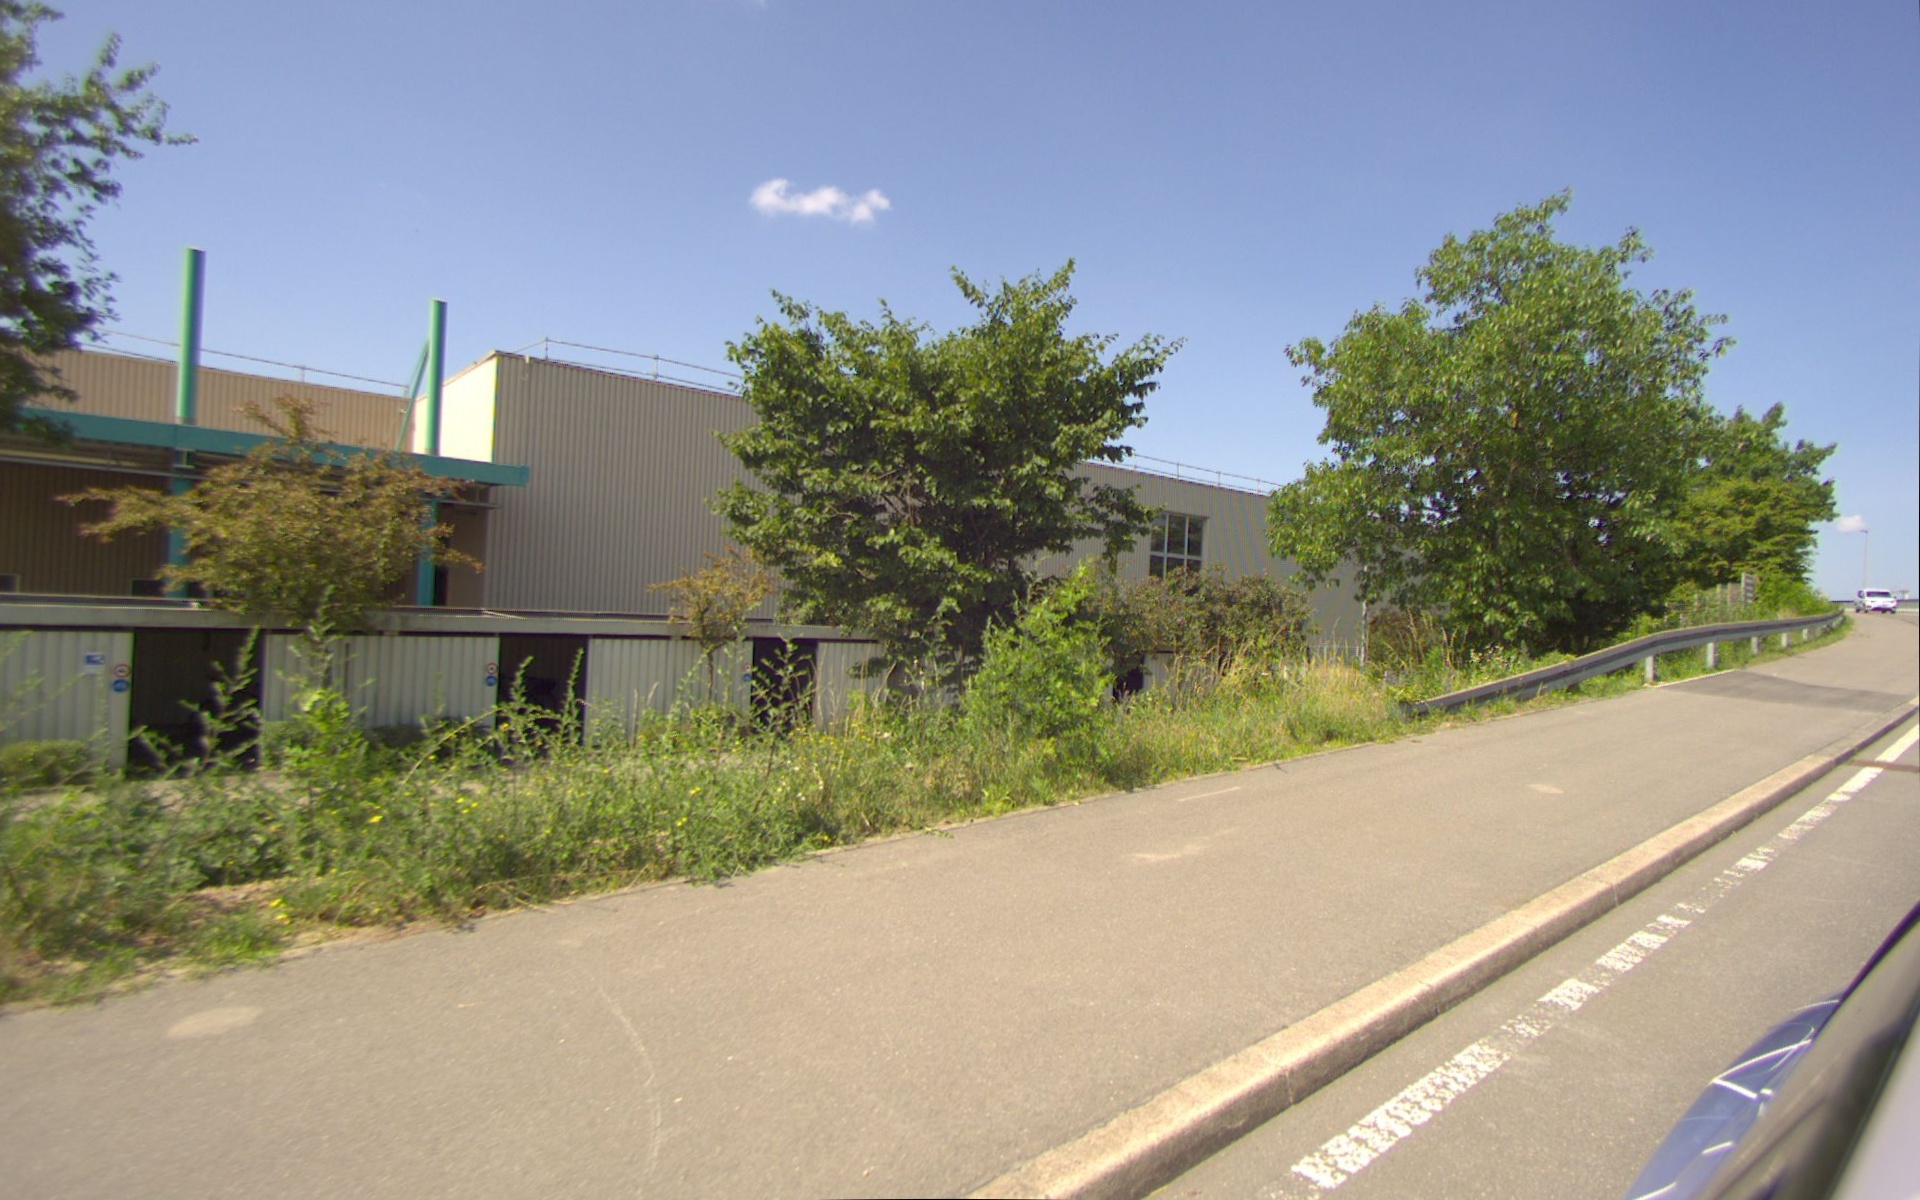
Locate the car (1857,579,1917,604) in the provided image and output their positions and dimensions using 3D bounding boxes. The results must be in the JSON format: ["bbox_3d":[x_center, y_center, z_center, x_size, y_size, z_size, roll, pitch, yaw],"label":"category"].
[{"bbox_3d":[69.108,-0.609,75.511,2.073,1.783,4.244,-1,-1,26],"label":"car"}]
